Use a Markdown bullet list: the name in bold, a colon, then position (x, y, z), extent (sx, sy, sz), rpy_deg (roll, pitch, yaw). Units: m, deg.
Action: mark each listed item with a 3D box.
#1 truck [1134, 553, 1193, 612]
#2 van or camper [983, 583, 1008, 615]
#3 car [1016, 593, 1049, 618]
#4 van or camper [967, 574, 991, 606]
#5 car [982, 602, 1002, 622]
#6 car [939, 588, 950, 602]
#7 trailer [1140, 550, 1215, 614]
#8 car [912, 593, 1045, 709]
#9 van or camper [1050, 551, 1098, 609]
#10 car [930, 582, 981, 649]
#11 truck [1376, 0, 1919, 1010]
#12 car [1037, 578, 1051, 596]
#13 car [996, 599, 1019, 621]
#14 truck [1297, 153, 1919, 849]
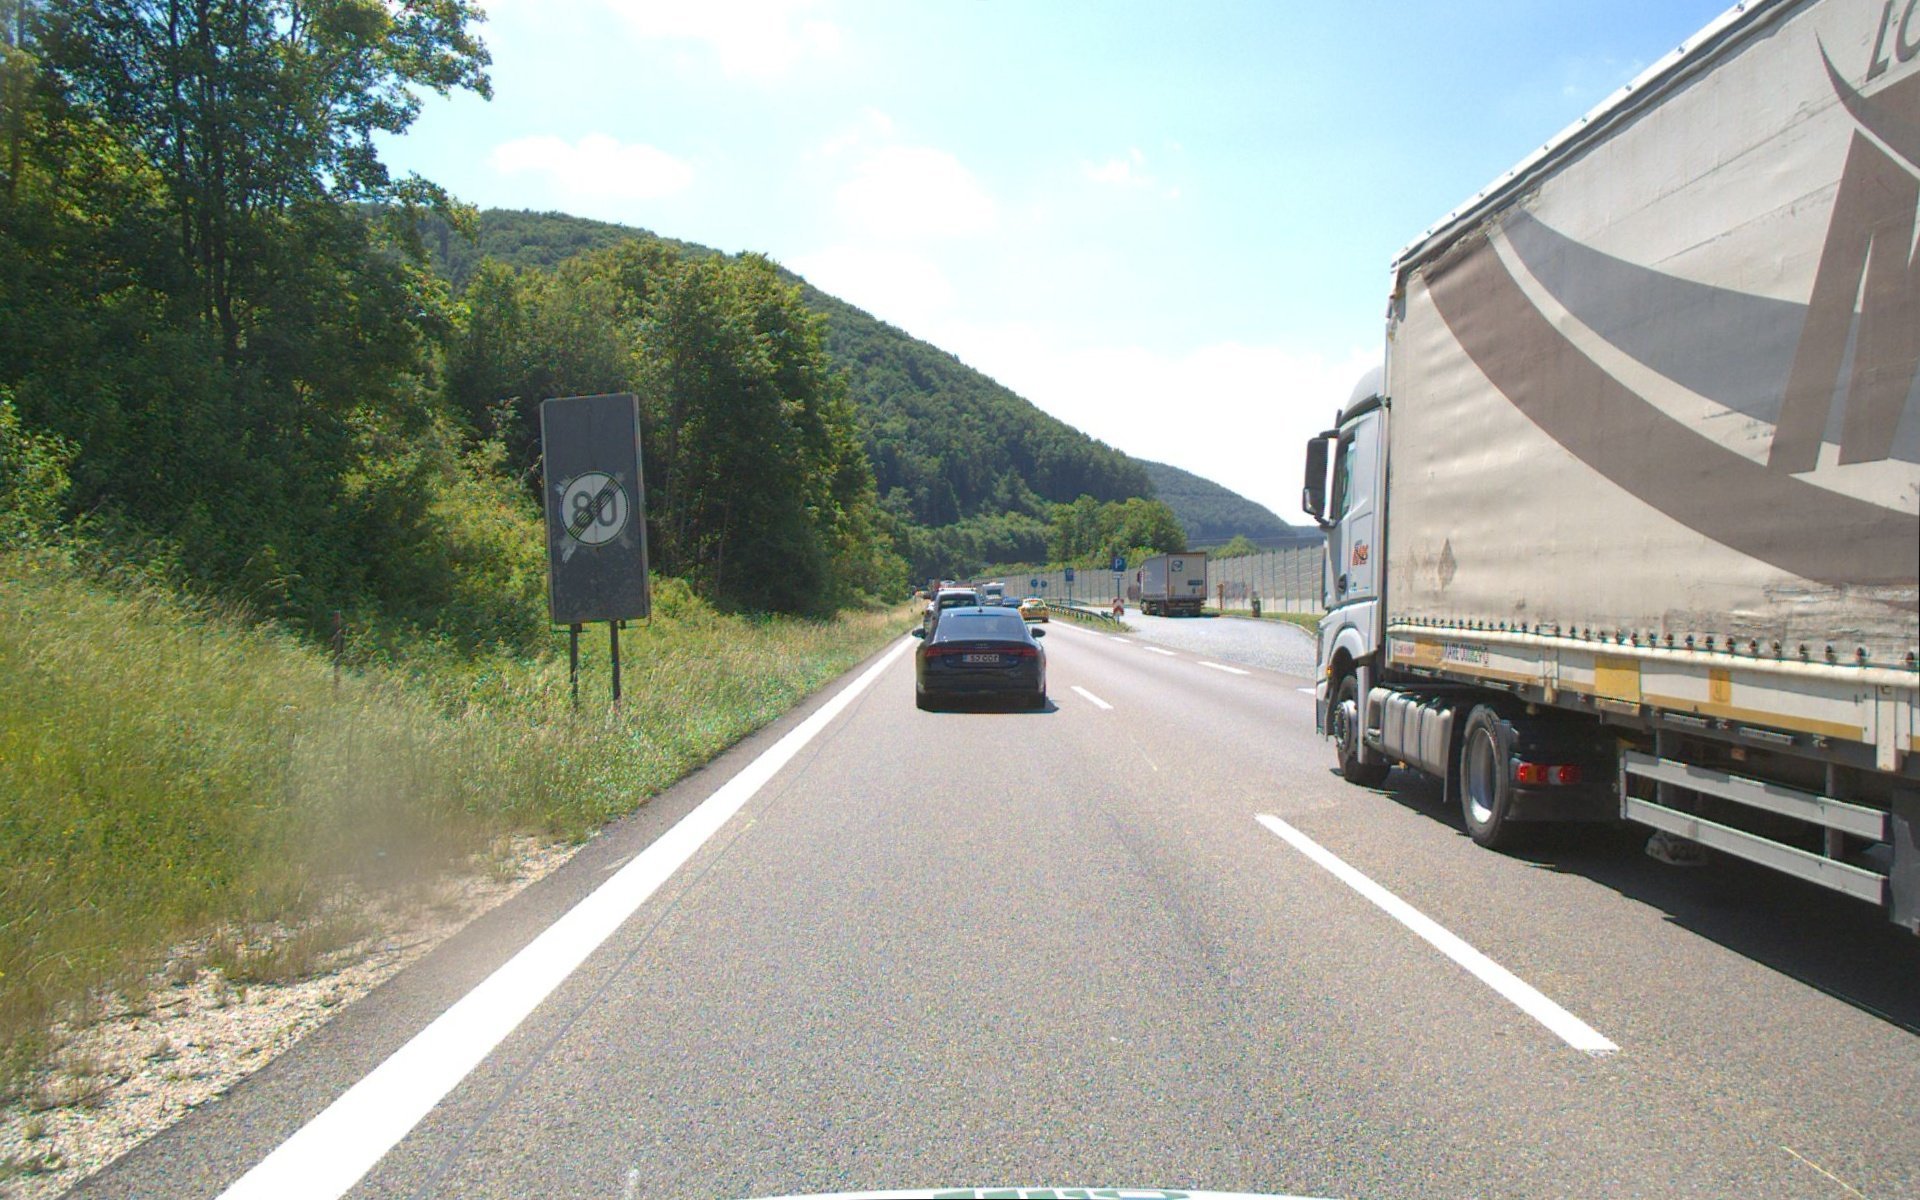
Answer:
- **truck**: position (14.131, -1.178, 115.295), extent (3.342, 3.968, 5.386), rpy_deg (0, 0, -1)
- **van or camper**: position (3.604, -0.080, 170.392), extent (2.380, 3.210, 5.203), rpy_deg (2, -1, 0)
- **car**: position (4.418, 0.334, 101.425), extent (1.840, 1.525, 4.000), rpy_deg (0, 0, 0)
- **van or camper**: position (2.500, -1.293, 218.970), extent (2.738, 3.975, 6.164), rpy_deg (2, -1, -2)
- **car**: position (2.667, 1.002, 137.948), extent (1.498, 1.552, 3.596), rpy_deg (2, -1, 0)
- **car**: position (-2.276, -0.753, 242.066), extent (1.653, 2.049, 3.999), rpy_deg (0, 0, -1)
- **trailer**: position (14.179, -1.152, 108.910), extent (3.342, 3.968, 11.149), rpy_deg (0, 0, -1)
- **car**: position (0.295, 0.691, 24.179), extent (1.774, 1.541, 3.515), rpy_deg (-1, 0, 1)
- **van or camper**: position (8.121, -1.395, 118.403), extent (2.738, 3.909, 6.164), rpy_deg (2, -1, -2)
- **car**: position (-0.165, 0.493, 52.298), extent (1.490, 2.003, 3.513), rpy_deg (2, -1, -1)
- **truck**: position (4.627, -0.649, 5.968), extent (2.670, 4.139, 13.738), rpy_deg (1, -1, 0)
- **car**: position (9.996, -1.531, 197.583), extent (1.544, 2.049, 3.428), rpy_deg (0, 0, 0)
- **car**: position (3.407, 0.735, 118.266), extent (1.498, 1.552, 3.596), rpy_deg (2, -1, 0)
- **truck**: position (4.573, -0.556, 12.800), extent (2.664, 4.139, 5.753), rpy_deg (1, -1, -1)
